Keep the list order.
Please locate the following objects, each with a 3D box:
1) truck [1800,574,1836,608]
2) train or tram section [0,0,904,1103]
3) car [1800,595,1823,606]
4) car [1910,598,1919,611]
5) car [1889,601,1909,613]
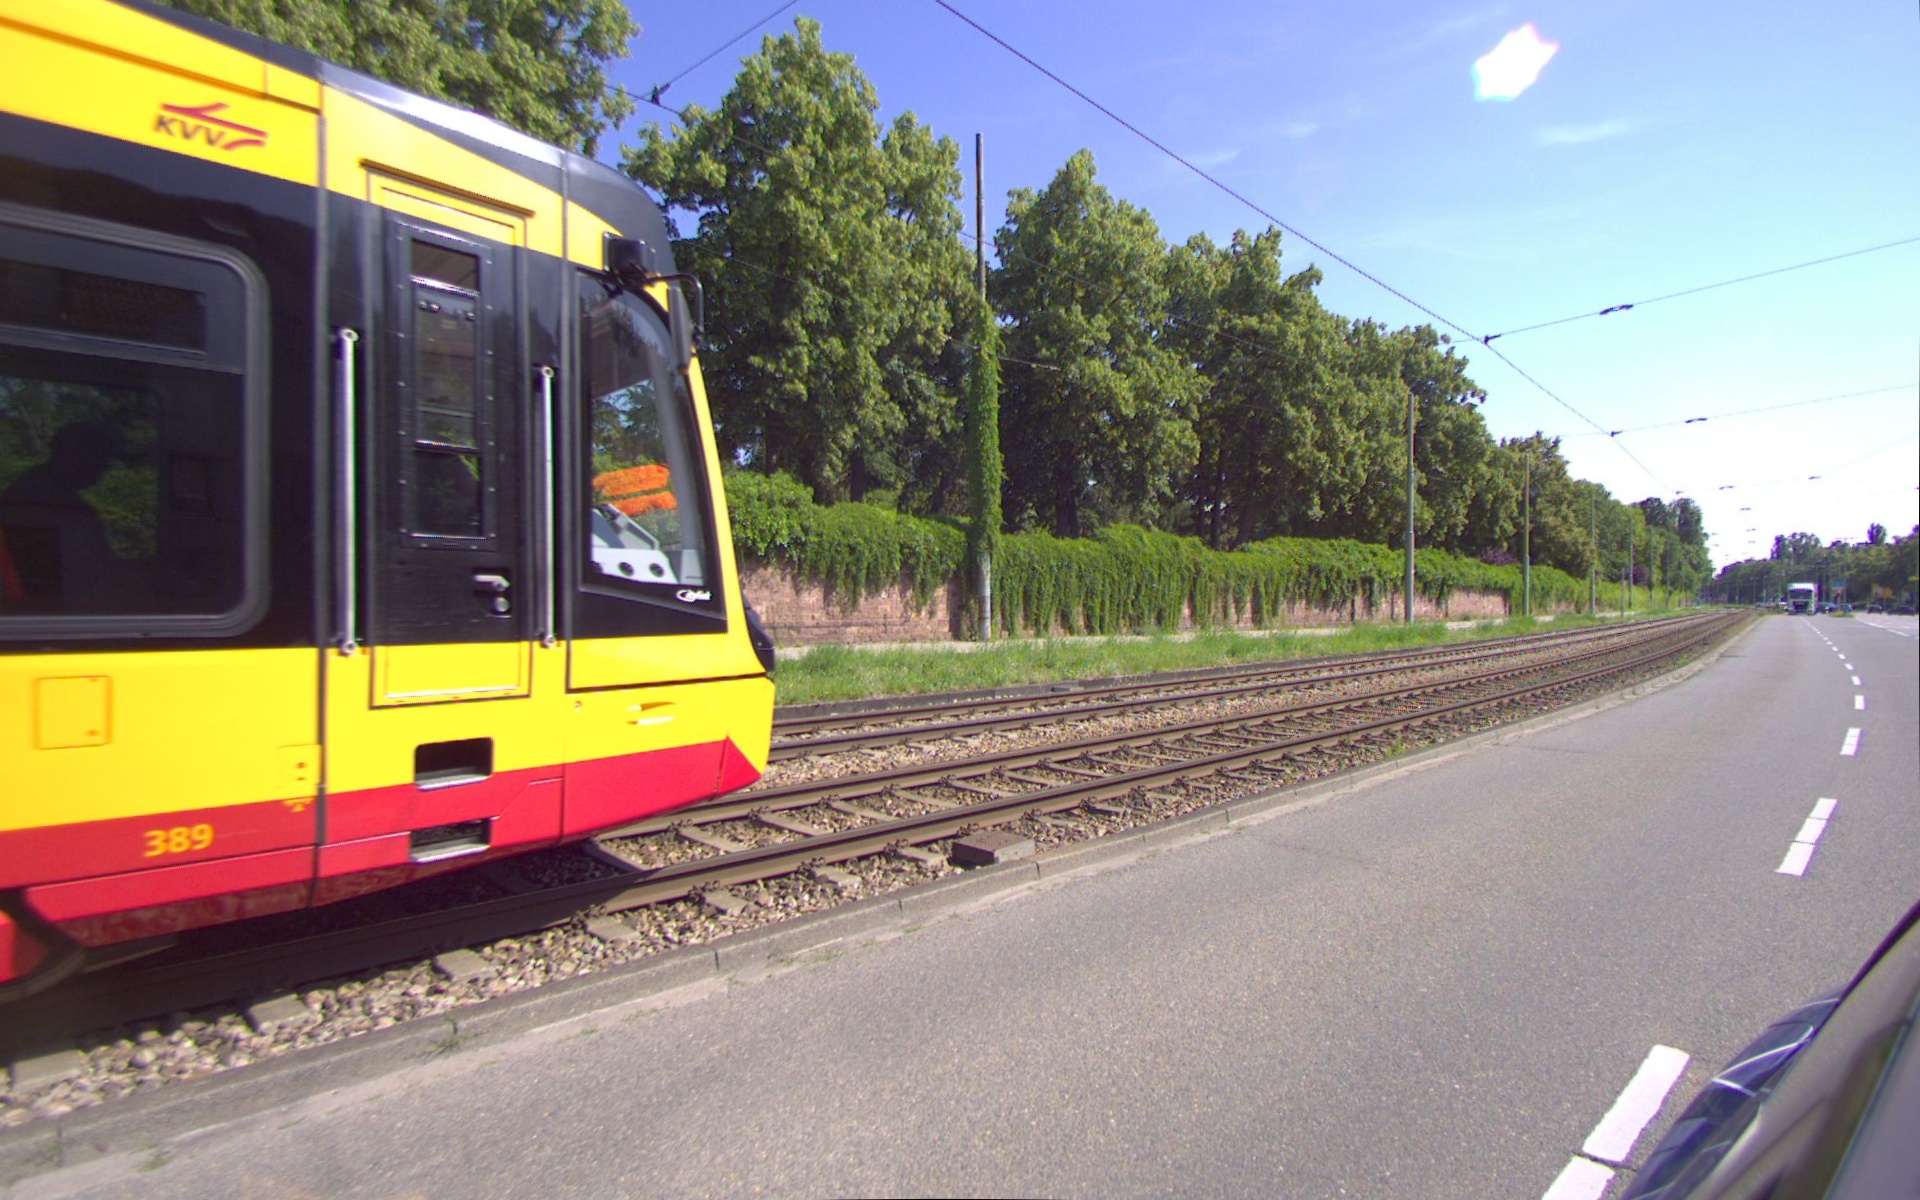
[{"bbox_3d":[108.163,-1.119,127.468,2.845,4.057,14.080,1,1,43],"label":"truck"},{"bbox_3d":[-5.948,-0.479,1.615,13.083,3.794,2.515,0,1,-43],"label":"train or tram section"},{"bbox_3d":[123.667,0.058,146.969,1.917,1.623,4.416,0,0,32],"label":"car"},{"bbox_3d":[138.921,0.631,146.308,1.815,1.693,3.948,0,-2,35],"label":"car"},{"bbox_3d":[147.213,1.072,158.695,1.815,1.693,3.948,0,-2,35],"label":"car"}]
